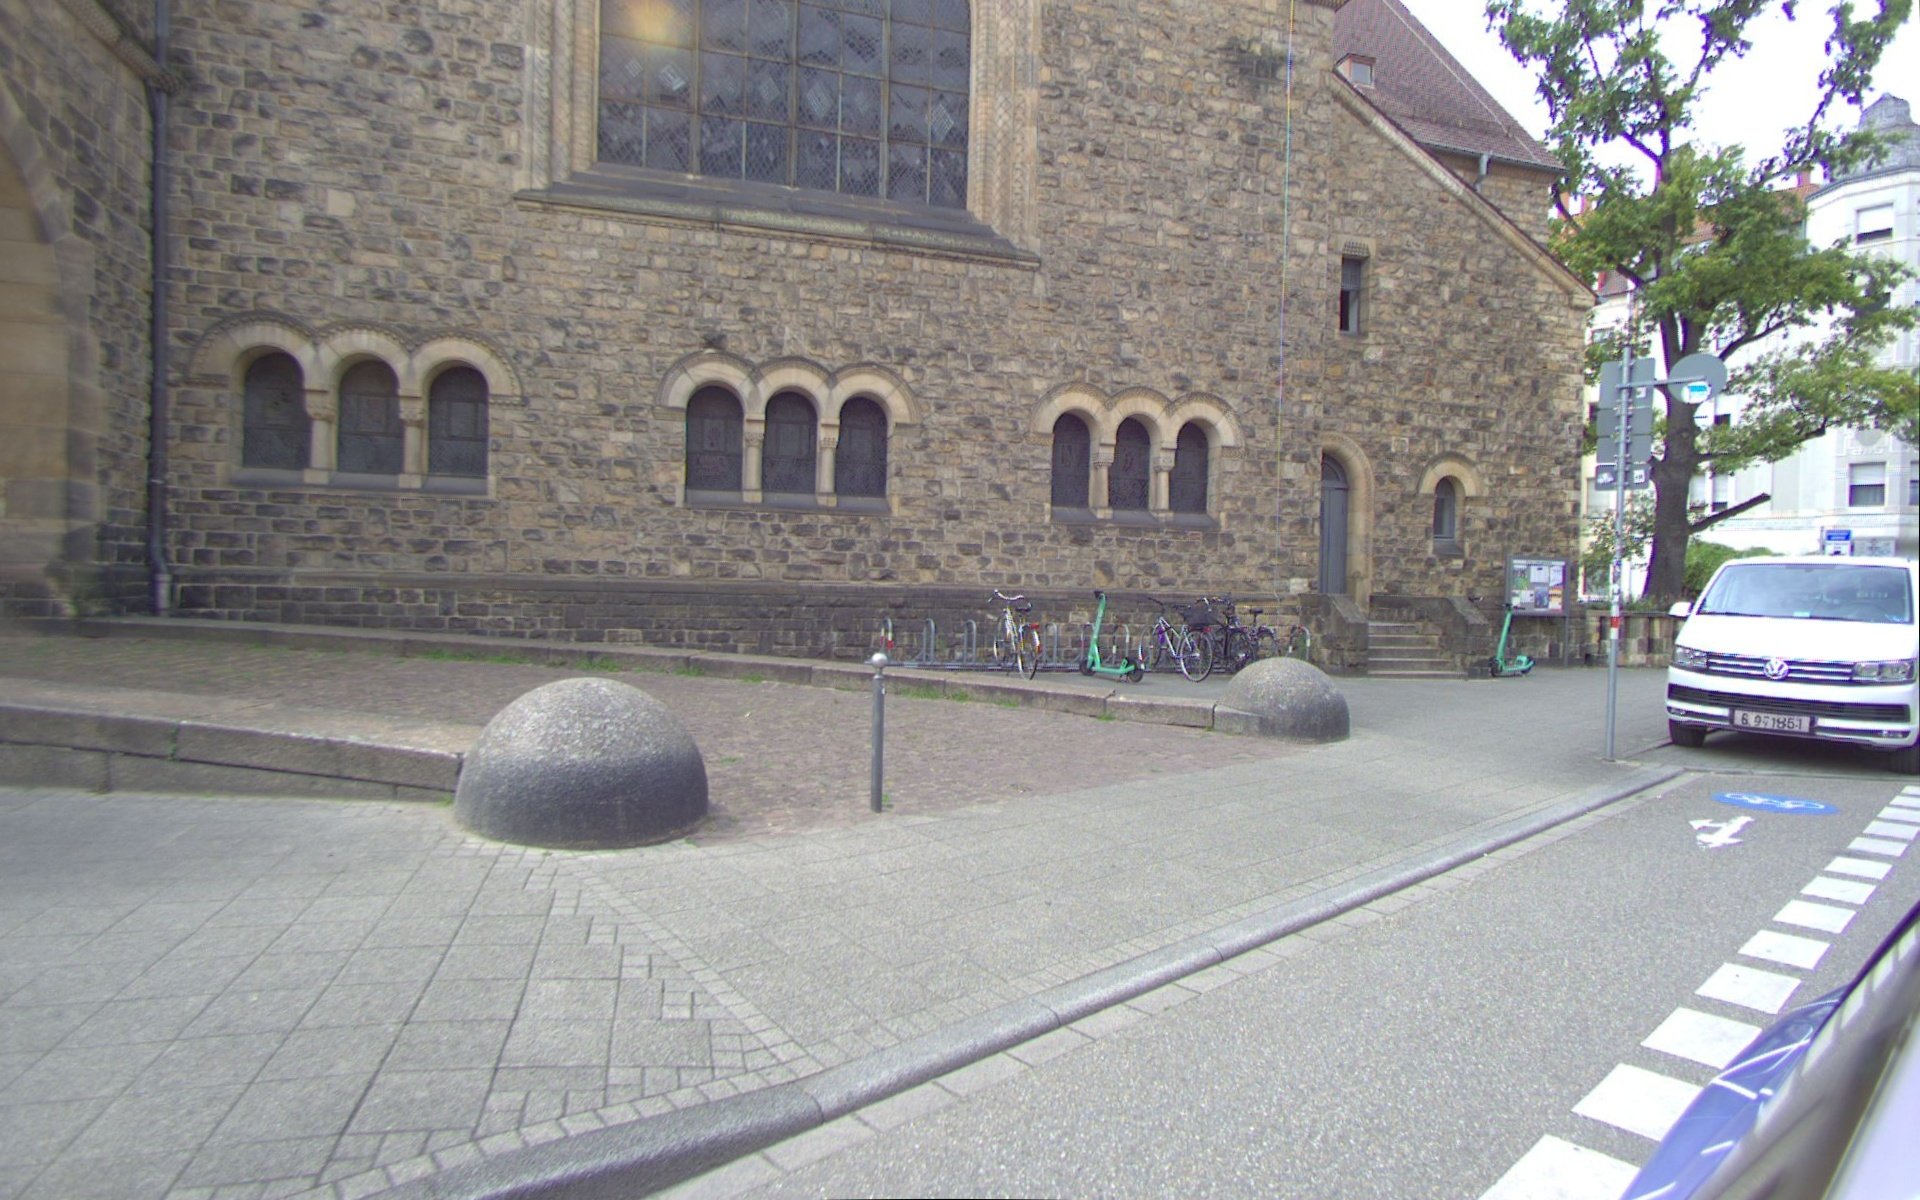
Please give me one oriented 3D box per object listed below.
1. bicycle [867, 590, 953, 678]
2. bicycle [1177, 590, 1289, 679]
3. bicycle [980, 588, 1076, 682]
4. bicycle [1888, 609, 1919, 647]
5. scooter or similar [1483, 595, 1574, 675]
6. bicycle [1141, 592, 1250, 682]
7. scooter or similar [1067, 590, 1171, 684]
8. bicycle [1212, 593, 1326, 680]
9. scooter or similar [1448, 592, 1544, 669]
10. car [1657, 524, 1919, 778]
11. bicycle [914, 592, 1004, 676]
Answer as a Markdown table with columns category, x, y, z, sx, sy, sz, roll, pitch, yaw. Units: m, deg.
| category | x | y | z | sx | sy | sz | roll | pitch | yaw |
| --- | --- | --- | --- | --- | --- | --- | --- | --- | --- |
| bicycle | -0.680 | 0.406 | 13.074 | 0.534 | 0.969 | 1.787 | 1 | 3 | -21 |
| bicycle | 3.806 | 0.451 | 14.268 | 0.534 | 1.125 | 1.779 | 1 | 1 | -21 |
| bicycle | 0.868 | 0.427 | 13.476 | 0.534 | 1.125 | 1.786 | 1 | 1 | -21 |
| bicycle | 28.716 | 0.854 | 30.735 | 1.943 | 1.119 | 0.523 | 1 | 0 | -40 |
| scooter or similar | 9.082 | 0.545 | 16.150 | 1.413 | 1.222 | 0.547 | 1 | 1 | -27 |
| bicycle | 3.234 | 0.482 | 14.068 | 0.534 | 1.125 | 1.786 | 1 | 1 | -21 |
| scooter or similar | 2.113 | 0.462 | 13.718 | 0.534 | 1.154 | 1.786 | 1 | 1 | -21 |
| bicycle | 4.392 | 0.489 | 14.515 | 0.534 | 1.125 | 1.786 | 1 | 1 | -21 |
| scooter or similar | 8.909 | 0.506 | 16.812 | 1.450 | 1.222 | 0.547 | 1 | 1 | -21 |
| car | 9.146 | 0.417 | 10.470 | 5.035 | 2.054 | 2.018 | 1 | 2 | -42 |
| bicycle | -0.044 | 0.412 | 13.261 | 0.534 | 0.969 | 1.786 | 1 | 1 | -21 |
